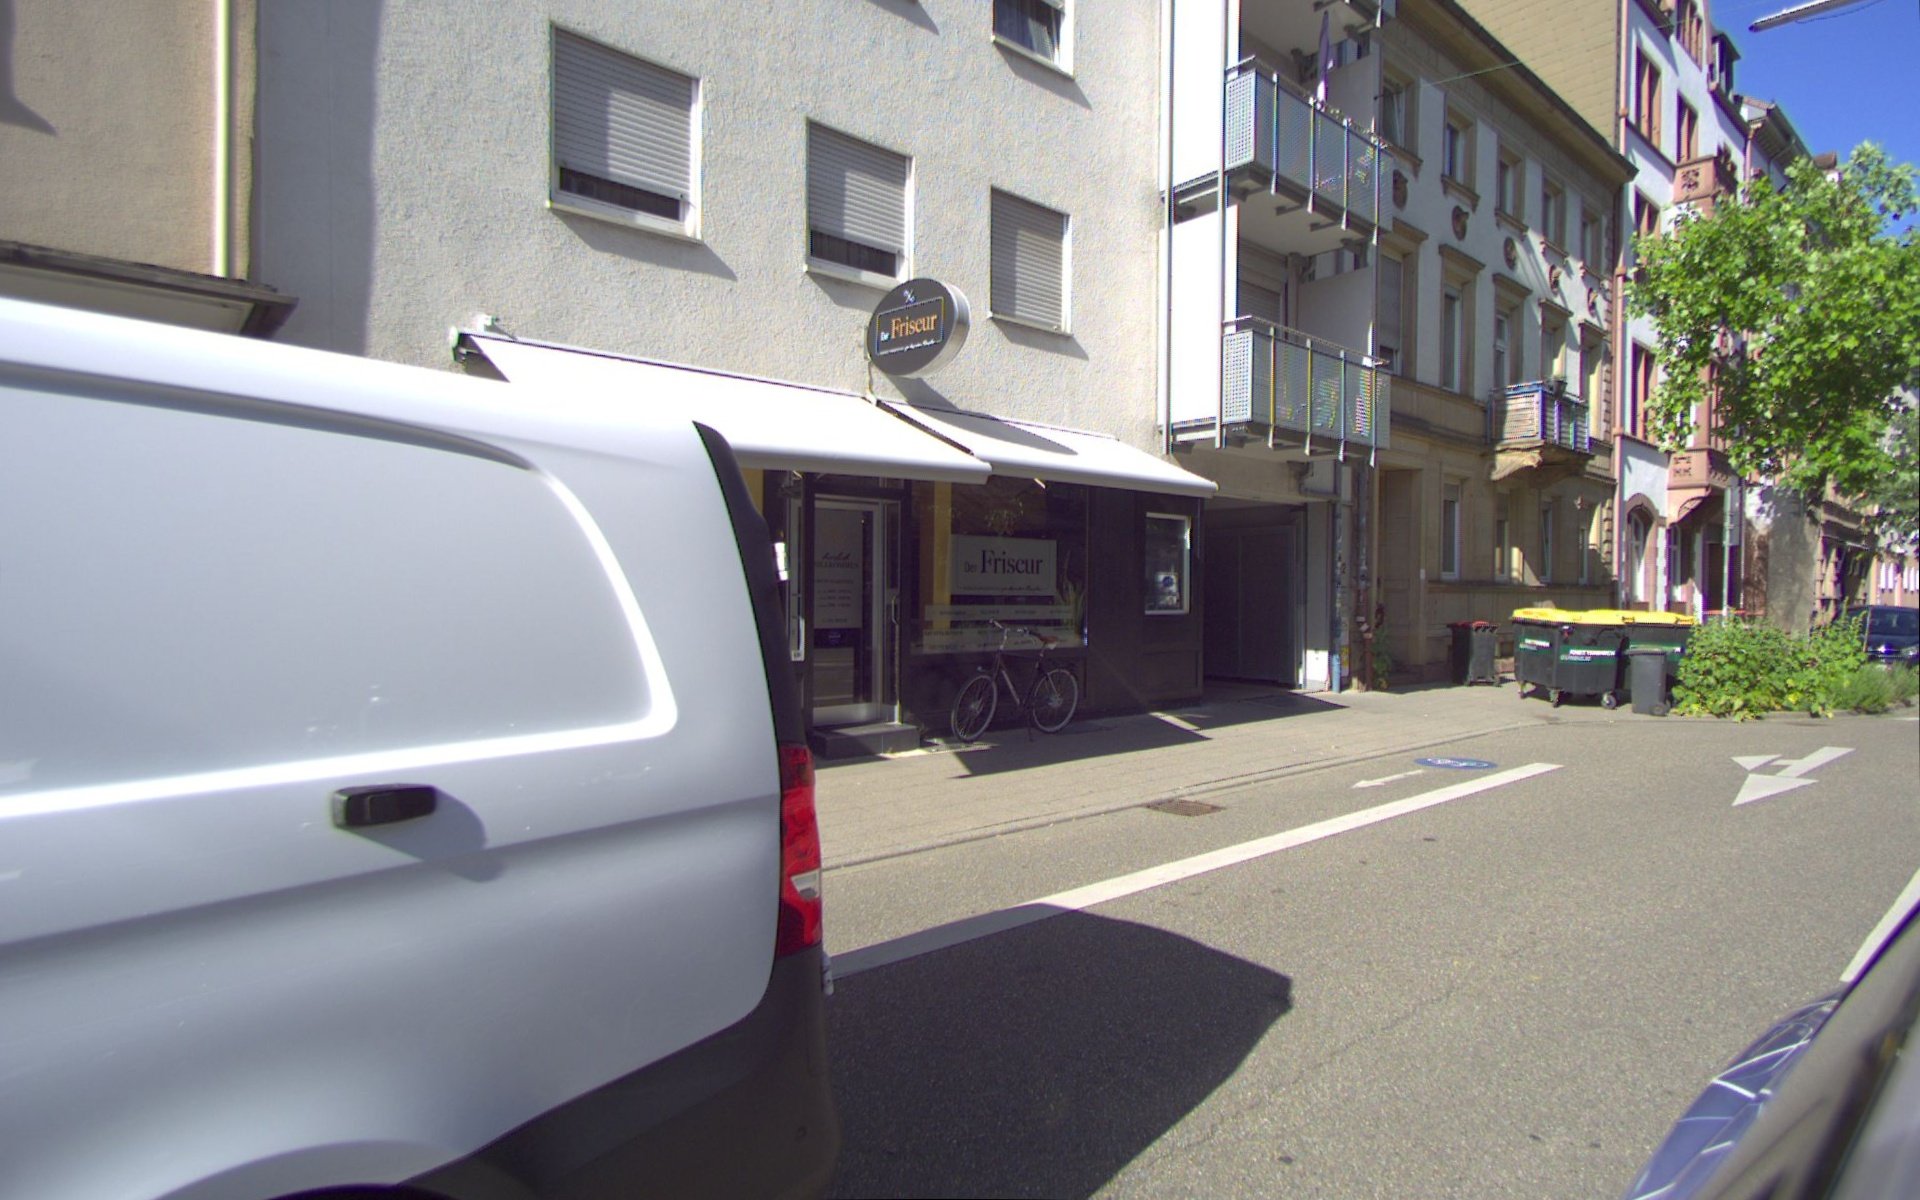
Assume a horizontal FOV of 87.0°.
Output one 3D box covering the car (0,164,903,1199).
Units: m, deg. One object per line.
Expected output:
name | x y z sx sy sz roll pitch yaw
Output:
car | -2.512 0.478 0.936 4.750 1.833 1.971 -1 1 -42

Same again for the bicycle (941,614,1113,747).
bicycle | 0.690 0.748 10.032 1.743 1.157 0.598 0 3 -41

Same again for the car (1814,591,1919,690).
car | 16.770 0.655 18.200 3.485 1.616 1.626 0 1 -41
